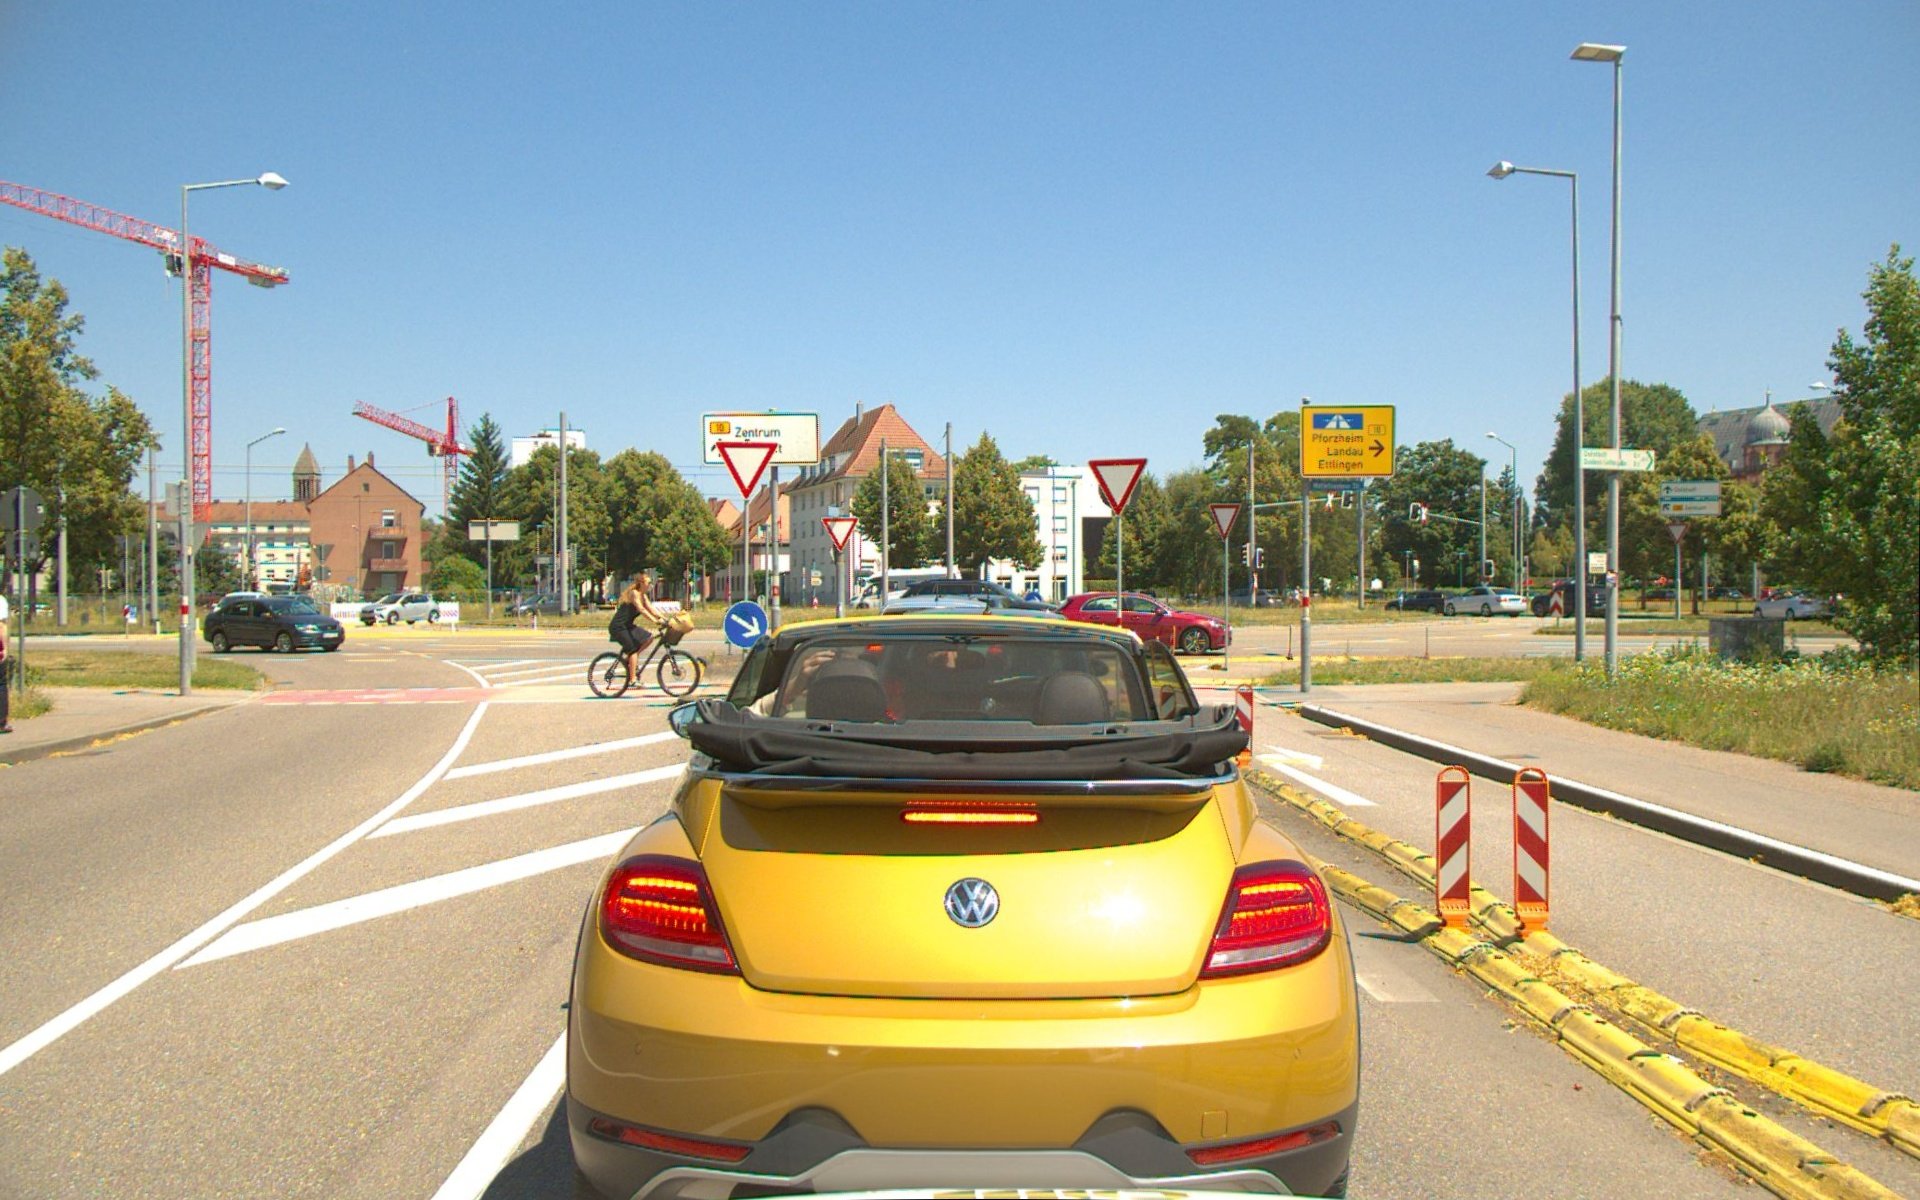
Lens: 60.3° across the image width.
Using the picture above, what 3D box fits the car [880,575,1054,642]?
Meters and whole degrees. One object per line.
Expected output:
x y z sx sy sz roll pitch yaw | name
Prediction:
0.213 0.205 44.176 4.311 1.623 2.002 -1 3 11 | car

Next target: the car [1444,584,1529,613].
25.831 -0.069 81.225 1.721 1.395 4.306 1 0 -20 | car

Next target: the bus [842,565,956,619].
-3.858 -0.503 104.696 7.107 3.228 2.260 1 0 -2 | bus

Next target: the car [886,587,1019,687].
-0.142 0.555 27.675 2.023 1.506 4.542 -1 0 -1 | car

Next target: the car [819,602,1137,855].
0.072 0.741 11.631 1.814 1.389 4.257 -1 0 -1 | car

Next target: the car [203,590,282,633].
-27.212 0.424 62.854 1.742 1.554 3.866 -1 0 -7 | car

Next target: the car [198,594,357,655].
-18.712 0.641 45.319 4.247 1.579 1.725 0 1 29 | car

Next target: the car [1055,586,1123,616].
8.080 0.084 103.517 3.905 1.803 1.786 1 0 21 | car

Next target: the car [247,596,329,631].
-27.794 0.542 68.507 1.711 1.395 4.329 1 0 -2 | car

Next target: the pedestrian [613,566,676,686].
-4.614 0.375 24.209 0.717 1.721 0.575 1 -1 9 | pedestrian

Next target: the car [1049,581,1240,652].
4.278 0.373 38.735 4.312 1.554 2.001 1 0 4 | car

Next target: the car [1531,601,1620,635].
30.876 0.881 83.044 1.848 1.642 4.306 1 0 -20 | car

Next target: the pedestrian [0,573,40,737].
-10.936 0.609 18.608 0.623 1.817 0.968 1 -1 -2 | pedestrian

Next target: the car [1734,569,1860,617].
36.348 -0.289 71.996 1.954 1.996 5.310 1 0 -13 | car

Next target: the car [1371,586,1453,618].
26.450 0.104 96.936 1.831 1.766 4.381 1 0 -40 | car

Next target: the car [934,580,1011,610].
0.768 -0.325 101.111 4.337 1.766 1.849 1 0 18 | car

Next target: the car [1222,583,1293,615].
17.226 -0.061 95.987 1.820 1.766 4.407 1 0 -26 | car

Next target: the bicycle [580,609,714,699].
-4.568 0.787 24.183 1.803 1.253 0.614 -2 -1 10 | bicycle

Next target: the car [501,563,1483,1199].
0.030 0.712 5.065 1.729 1.507 4.257 1 0 -1 | car

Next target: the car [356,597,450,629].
-26.272 0.609 78.097 1.693 1.427 4.267 1 0 26 | car

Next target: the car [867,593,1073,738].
0.068 0.663 18.541 2.023 1.406 4.257 1 0 -1 | car
